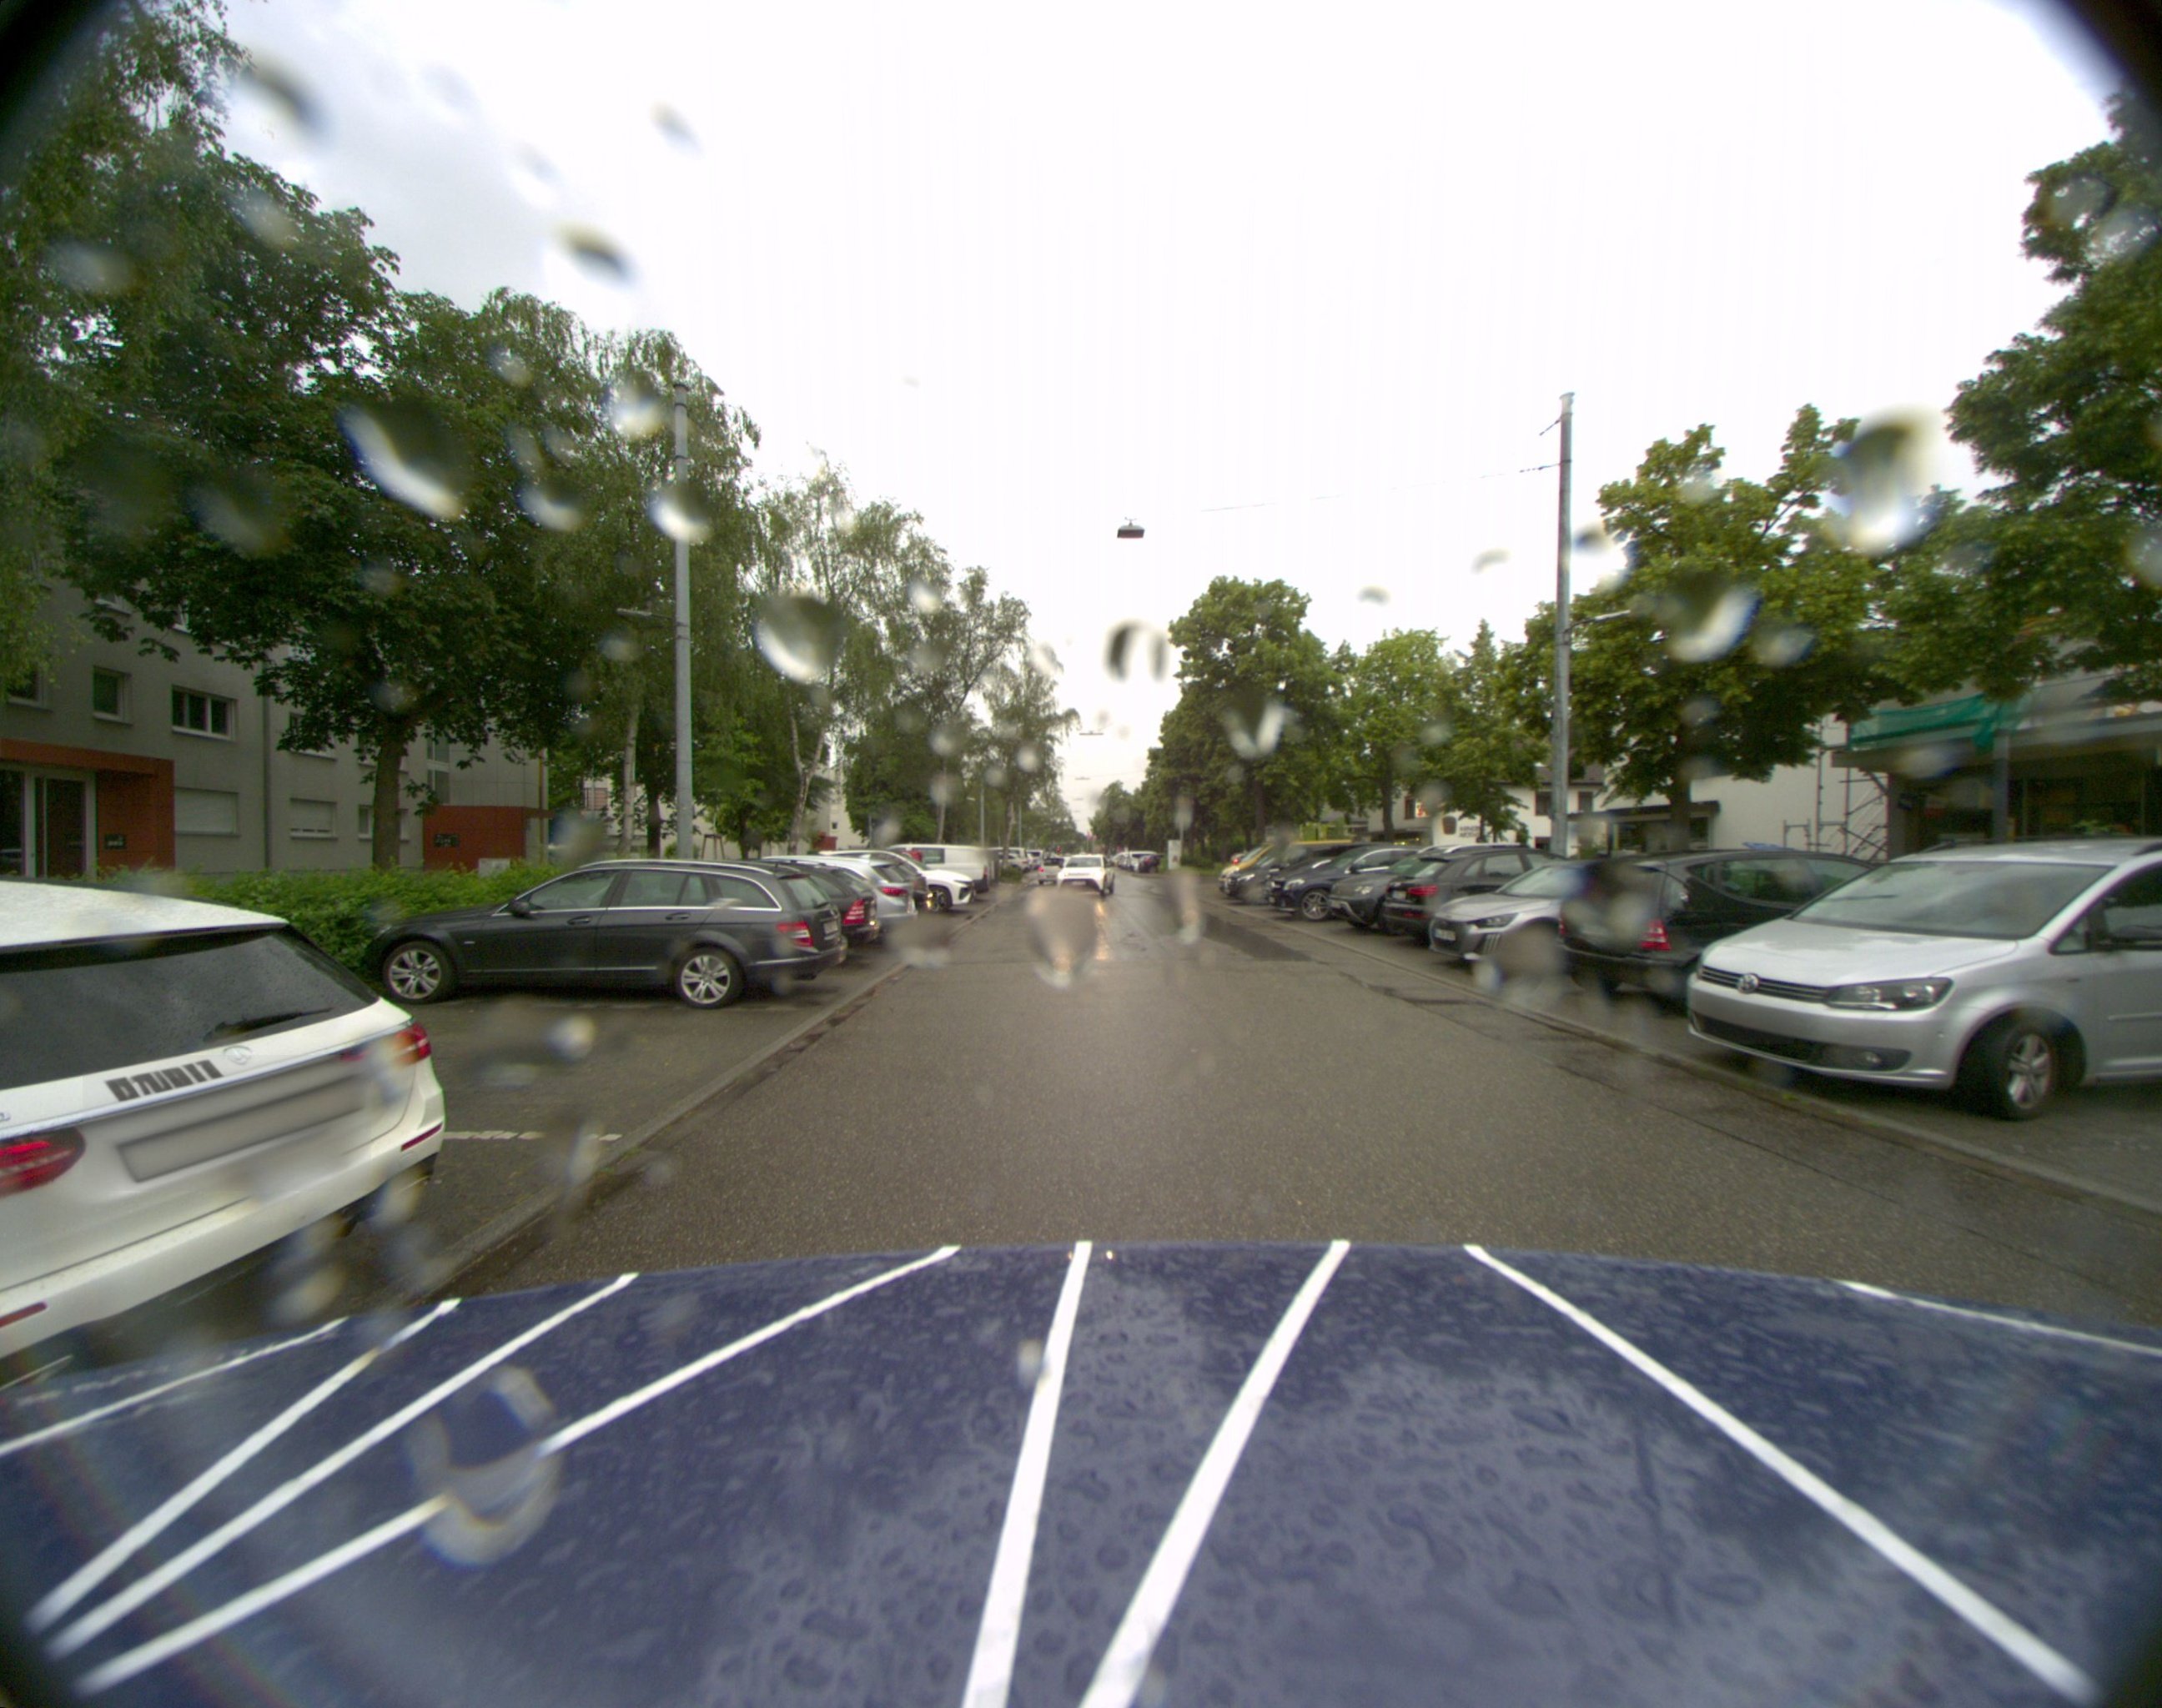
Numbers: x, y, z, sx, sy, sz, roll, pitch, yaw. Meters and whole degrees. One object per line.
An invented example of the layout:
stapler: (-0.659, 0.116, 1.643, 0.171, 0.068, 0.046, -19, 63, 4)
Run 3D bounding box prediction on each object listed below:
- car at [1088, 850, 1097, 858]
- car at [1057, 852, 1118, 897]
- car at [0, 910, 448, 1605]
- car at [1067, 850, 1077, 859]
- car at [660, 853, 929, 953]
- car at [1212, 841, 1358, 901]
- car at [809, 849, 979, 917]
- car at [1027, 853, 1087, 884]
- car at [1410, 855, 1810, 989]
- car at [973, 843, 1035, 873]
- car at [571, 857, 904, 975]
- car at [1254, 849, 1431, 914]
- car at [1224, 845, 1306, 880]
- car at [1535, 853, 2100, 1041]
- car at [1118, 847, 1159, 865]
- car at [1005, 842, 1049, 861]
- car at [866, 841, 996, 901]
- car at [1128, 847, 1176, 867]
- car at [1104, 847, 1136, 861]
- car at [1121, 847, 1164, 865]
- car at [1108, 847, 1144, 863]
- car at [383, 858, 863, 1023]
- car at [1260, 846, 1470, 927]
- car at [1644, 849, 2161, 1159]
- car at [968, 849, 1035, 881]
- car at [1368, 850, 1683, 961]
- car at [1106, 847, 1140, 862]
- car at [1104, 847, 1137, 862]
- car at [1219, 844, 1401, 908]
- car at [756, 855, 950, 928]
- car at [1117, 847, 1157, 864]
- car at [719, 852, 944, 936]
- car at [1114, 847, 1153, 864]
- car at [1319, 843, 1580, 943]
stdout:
car: (2.601, -0.006, 171.881, 1.999, 1.617, 3.999, -2, 1, -1)
car: (0.314, 0.714, 28.650, 1.732, 1.519, 4.142, 0, 1, 9)
car: (-4.758, 0.916, 2.071, 4.623, 1.431, 1.680, 2, 1, 0)
car: (-1.920, 0.063, 169.322, 1.998, 1.804, 3.999, -2, 1, 1)
car: (-4.858, 0.817, 13.314, 4.049, 1.488, 1.680, 2, 1, -3)
car: (7.174, 0.572, 26.944, 4.657, 1.947, 1.715, -2, 1, -2)
car: (-5.054, 0.757, 20.911, 4.179, 1.609, 1.680, 2, 1, 1)
car: (-1.226, 0.728, 40.627, 1.996, 1.446, 4.261, -2, 1, 15)
car: (6.992, 0.840, 10.324, 4.283, 1.523, 1.715, -2, 1, -2)
car: (-5.462, 0.269, 54.104, 3.995, 1.902, 1.902, -2, 1, 4)
car: (-4.804, 0.851, 11.069, 4.049, 1.431, 1.680, 2, 1, -3)
car: (7.168, 0.720, 21.080, 4.283, 1.617, 1.715, -2, 1, -2)
car: (10.054, 0.450, 41.675, 3.997, 1.677, 1.840, -2, 1, 1)
car: (7.255, 0.838, 7.764, 4.283, 1.556, 1.635, -2, 1, -2)
car: (5.892, 0.217, 78.345, 3.998, 1.675, 1.999, -2, 1, -3)
car: (-5.287, -0.226, 75.033, 3.995, 1.670, 1.902, -2, 1, 4)
car: (-5.087, 0.572, 26.194, 4.182, 1.856, 1.679, 2, 1, -6)
car: (6.389, 0.270, 68.874, 3.998, 1.675, 1.999, -2, 1, -3)
car: (5.191, -0.019, 101.621, 3.998, 1.675, 1.999, -2, 1, -3)
car: (6.101, 0.190, 75.868, 3.998, 1.675, 1.999, -2, 1, -3)
car: (5.323, 0.101, 90.318, 3.998, 1.675, 1.999, -2, 1, -3)
car: (-4.607, 0.848, 8.123, 4.049, 1.431, 1.680, 2, 1, -3)
car: (6.609, 0.718, 17.953, 4.283, 1.717, 1.715, -2, 1, -2)
car: (6.612, 0.844, 5.219, 4.283, 1.625, 1.715, -2, 1, -2)
car: (-5.121, 0.686, 49.270, 3.995, 1.902, 1.902, -2, 1, 4)
car: (7.260, 0.788, 12.682, 4.283, 1.586, 1.715, -2, 1, -2)
car: (5.205, 0.052, 94.424, 3.998, 1.675, 1.999, -2, 1, -3)
car: (5.014, 0.026, 96.946, 3.998, 1.675, 1.999, -2, 1, -3)
car: (7.108, 0.645, 23.865, 5.177, 1.789, 1.715, -2, 1, -2)
car: (-5.248, 0.845, 17.897, 4.049, 1.488, 1.680, 2, 1, -3)
car: (5.948, 0.128, 81.059, 3.998, 1.675, 1.999, -2, 1, -3)
car: (-5.002, 0.792, 15.638, 4.049, 1.488, 1.680, 2, 1, -3)
car: (5.774, 0.169, 83.761, 3.998, 1.675, 1.999, -2, 1, -3)
car: (7.084, 0.704, 14.874, 4.283, 1.717, 1.715, -2, 1, -2)
